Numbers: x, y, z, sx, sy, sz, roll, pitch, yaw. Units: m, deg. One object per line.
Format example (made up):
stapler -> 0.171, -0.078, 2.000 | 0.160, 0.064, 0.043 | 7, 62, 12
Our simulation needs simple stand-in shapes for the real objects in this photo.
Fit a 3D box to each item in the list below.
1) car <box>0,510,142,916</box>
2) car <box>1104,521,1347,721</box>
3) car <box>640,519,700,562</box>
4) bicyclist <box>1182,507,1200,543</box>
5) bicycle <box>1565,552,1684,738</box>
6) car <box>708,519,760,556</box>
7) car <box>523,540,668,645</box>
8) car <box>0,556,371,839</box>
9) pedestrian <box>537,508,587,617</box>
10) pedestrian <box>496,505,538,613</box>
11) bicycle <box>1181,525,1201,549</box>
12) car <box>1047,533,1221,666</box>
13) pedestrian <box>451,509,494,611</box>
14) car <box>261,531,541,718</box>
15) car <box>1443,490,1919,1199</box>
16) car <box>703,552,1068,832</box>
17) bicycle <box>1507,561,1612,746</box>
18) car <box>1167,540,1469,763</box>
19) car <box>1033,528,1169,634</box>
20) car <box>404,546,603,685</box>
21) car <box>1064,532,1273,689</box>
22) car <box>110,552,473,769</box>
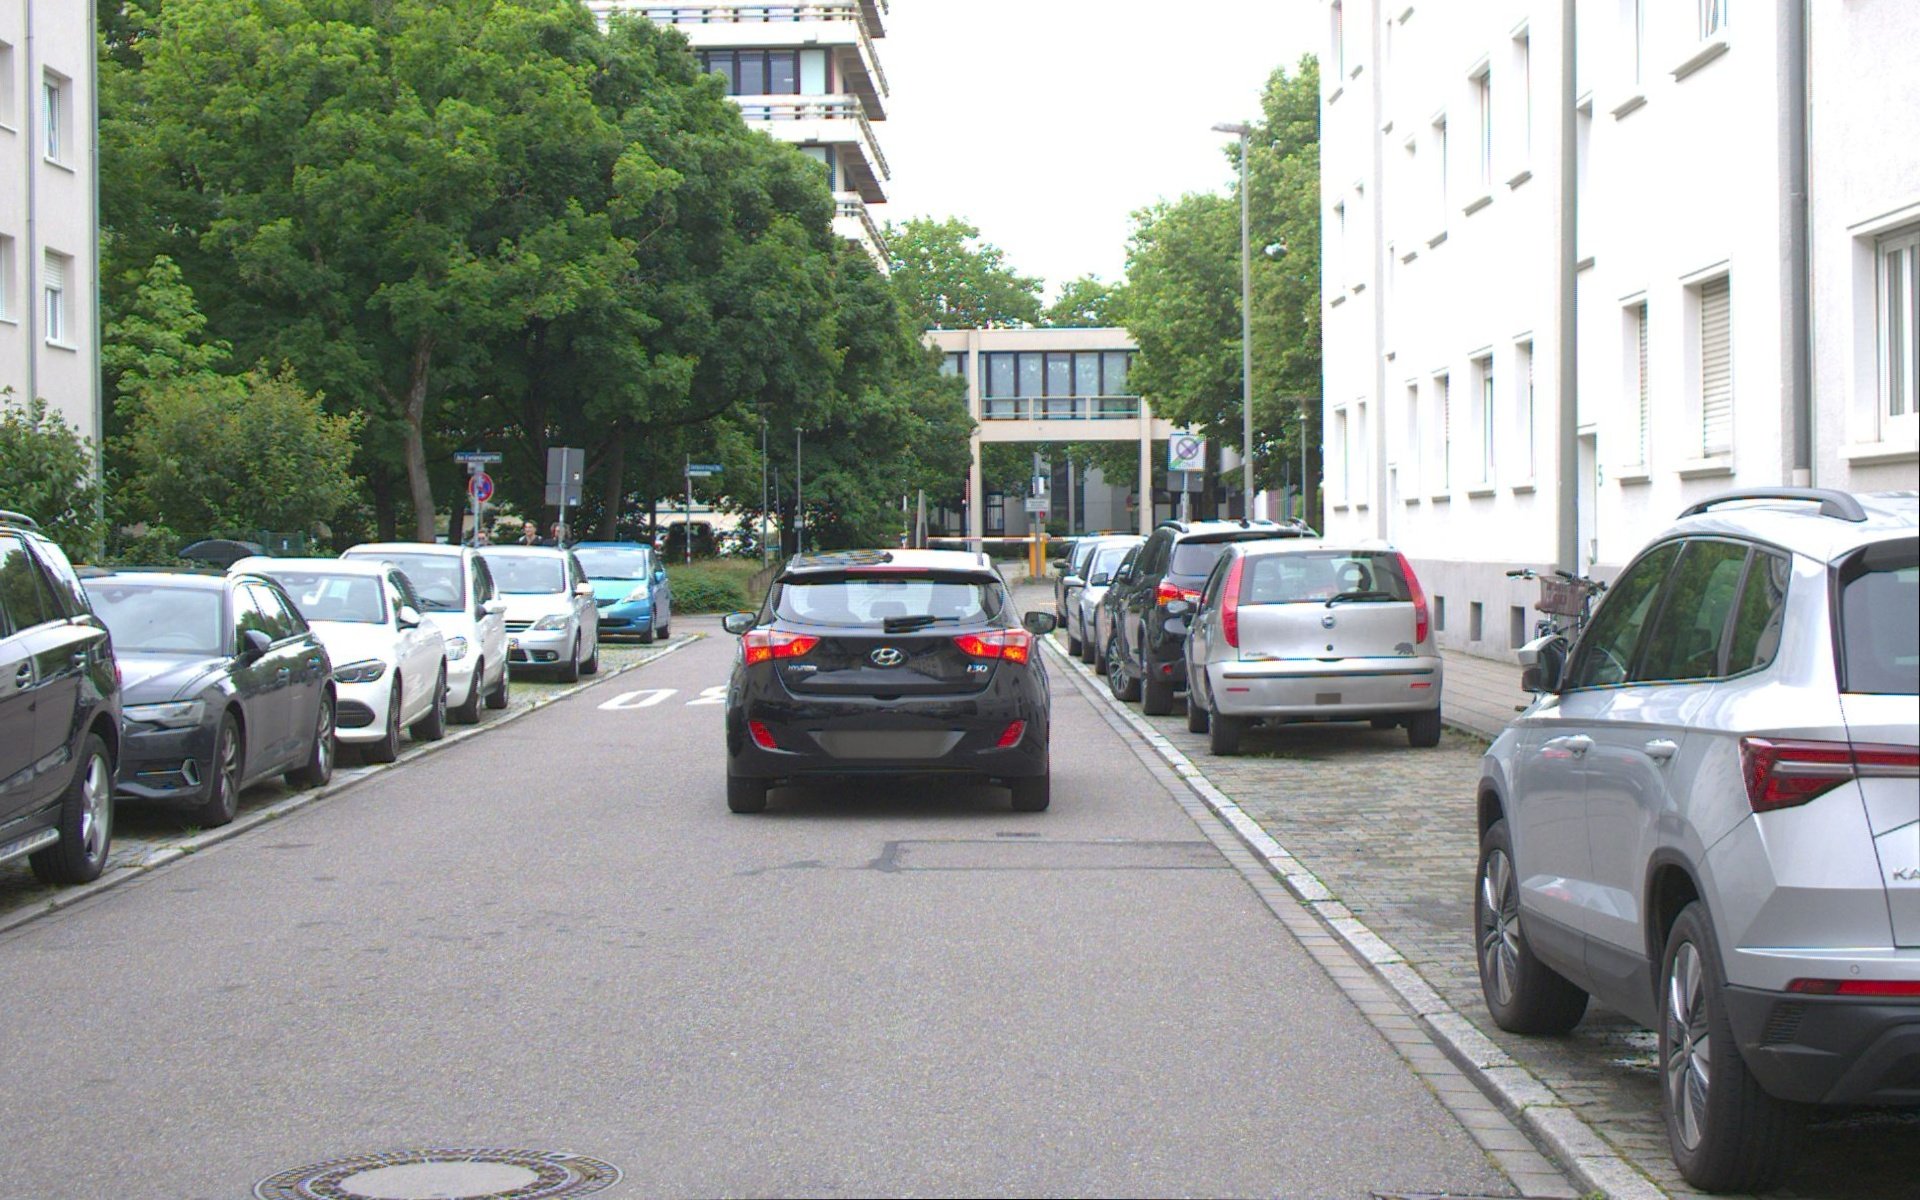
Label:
car -> -5.027, 0.452, 14.867 | 1.895, 1.734, 4.475 | 2, 1, 0
car -> 2.239, 0.126, 29.903 | 1.820, 1.597, 4.091 | -1, 1, 1
car -> -9.366, -1.939, 111.353 | 1.665, 1.328, 3.396 | 0, 1, 0
bicyclist -> 9.408, -3.065, 140.104 | 0.693, 1.439, 0.795 | 0, 1, 1
bicycle -> 4.498, 0.280, 23.370 | 0.576, 1.171, 2.036 | -2, 1, 6
car -> -8.192, -2.280, 124.781 | 1.665, 1.328, 3.396 | 0, 1, 0
car -> -5.591, -0.144, 53.137 | 1.993, 1.536, 4.001 | 0, 1, -2
car -> -4.946, 0.498, 20.966 | 1.895, 1.447, 4.667 | 2, 1, 0
pedestrian -> -6.714, -0.643, 58.002 | 0.714, 1.825, 0.797 | 0, 1, 2
pedestrian -> -7.515, -0.696, 58.329 | 0.605, 1.825, 0.675 | 0, 1, 2
bicycle -> 9.410, -2.571, 140.021 | 0.693, 0.993, 1.735 | 0, 1, 1
car -> 2.072, -0.052, 42.107 | 1.820, 1.514, 4.674 | -1, 1, -1
pedestrian -> -8.220, -0.683, 58.016 | 0.600, 1.707, 0.648 | 0, 1, 2
car -> -5.194, 0.173, 32.508 | 1.895, 1.593, 4.521 | 2, 1, 0
car -> 2.441, 0.556, 8.974 | 1.820, 1.636, 4.091 | 0, 1, 1
car -> -0.376, 0.458, 20.256 | 1.903, 1.428, 4.233 | -1, 1, 0
bicycle -> 4.066, 0.339, 23.408 | 0.530, 1.171, 2.036 | -2, 1, 6
car -> 2.535, 0.311, 25.207 | 1.820, 1.498, 4.091 | 0, 1, 1
car -> 2.120, -0.309, 52.913 | 1.820, 1.514, 4.674 | -1, 1, -1
car -> -5.348, 0.141, 40.712 | 1.993, 1.536, 4.001 | 0, 1, -2
car -> 2.109, 0.054, 35.982 | 1.820, 1.514, 4.674 | -1, 1, -1
car -> -5.016, 0.395, 26.422 | 1.895, 1.447, 4.521 | 2, 1, 0
